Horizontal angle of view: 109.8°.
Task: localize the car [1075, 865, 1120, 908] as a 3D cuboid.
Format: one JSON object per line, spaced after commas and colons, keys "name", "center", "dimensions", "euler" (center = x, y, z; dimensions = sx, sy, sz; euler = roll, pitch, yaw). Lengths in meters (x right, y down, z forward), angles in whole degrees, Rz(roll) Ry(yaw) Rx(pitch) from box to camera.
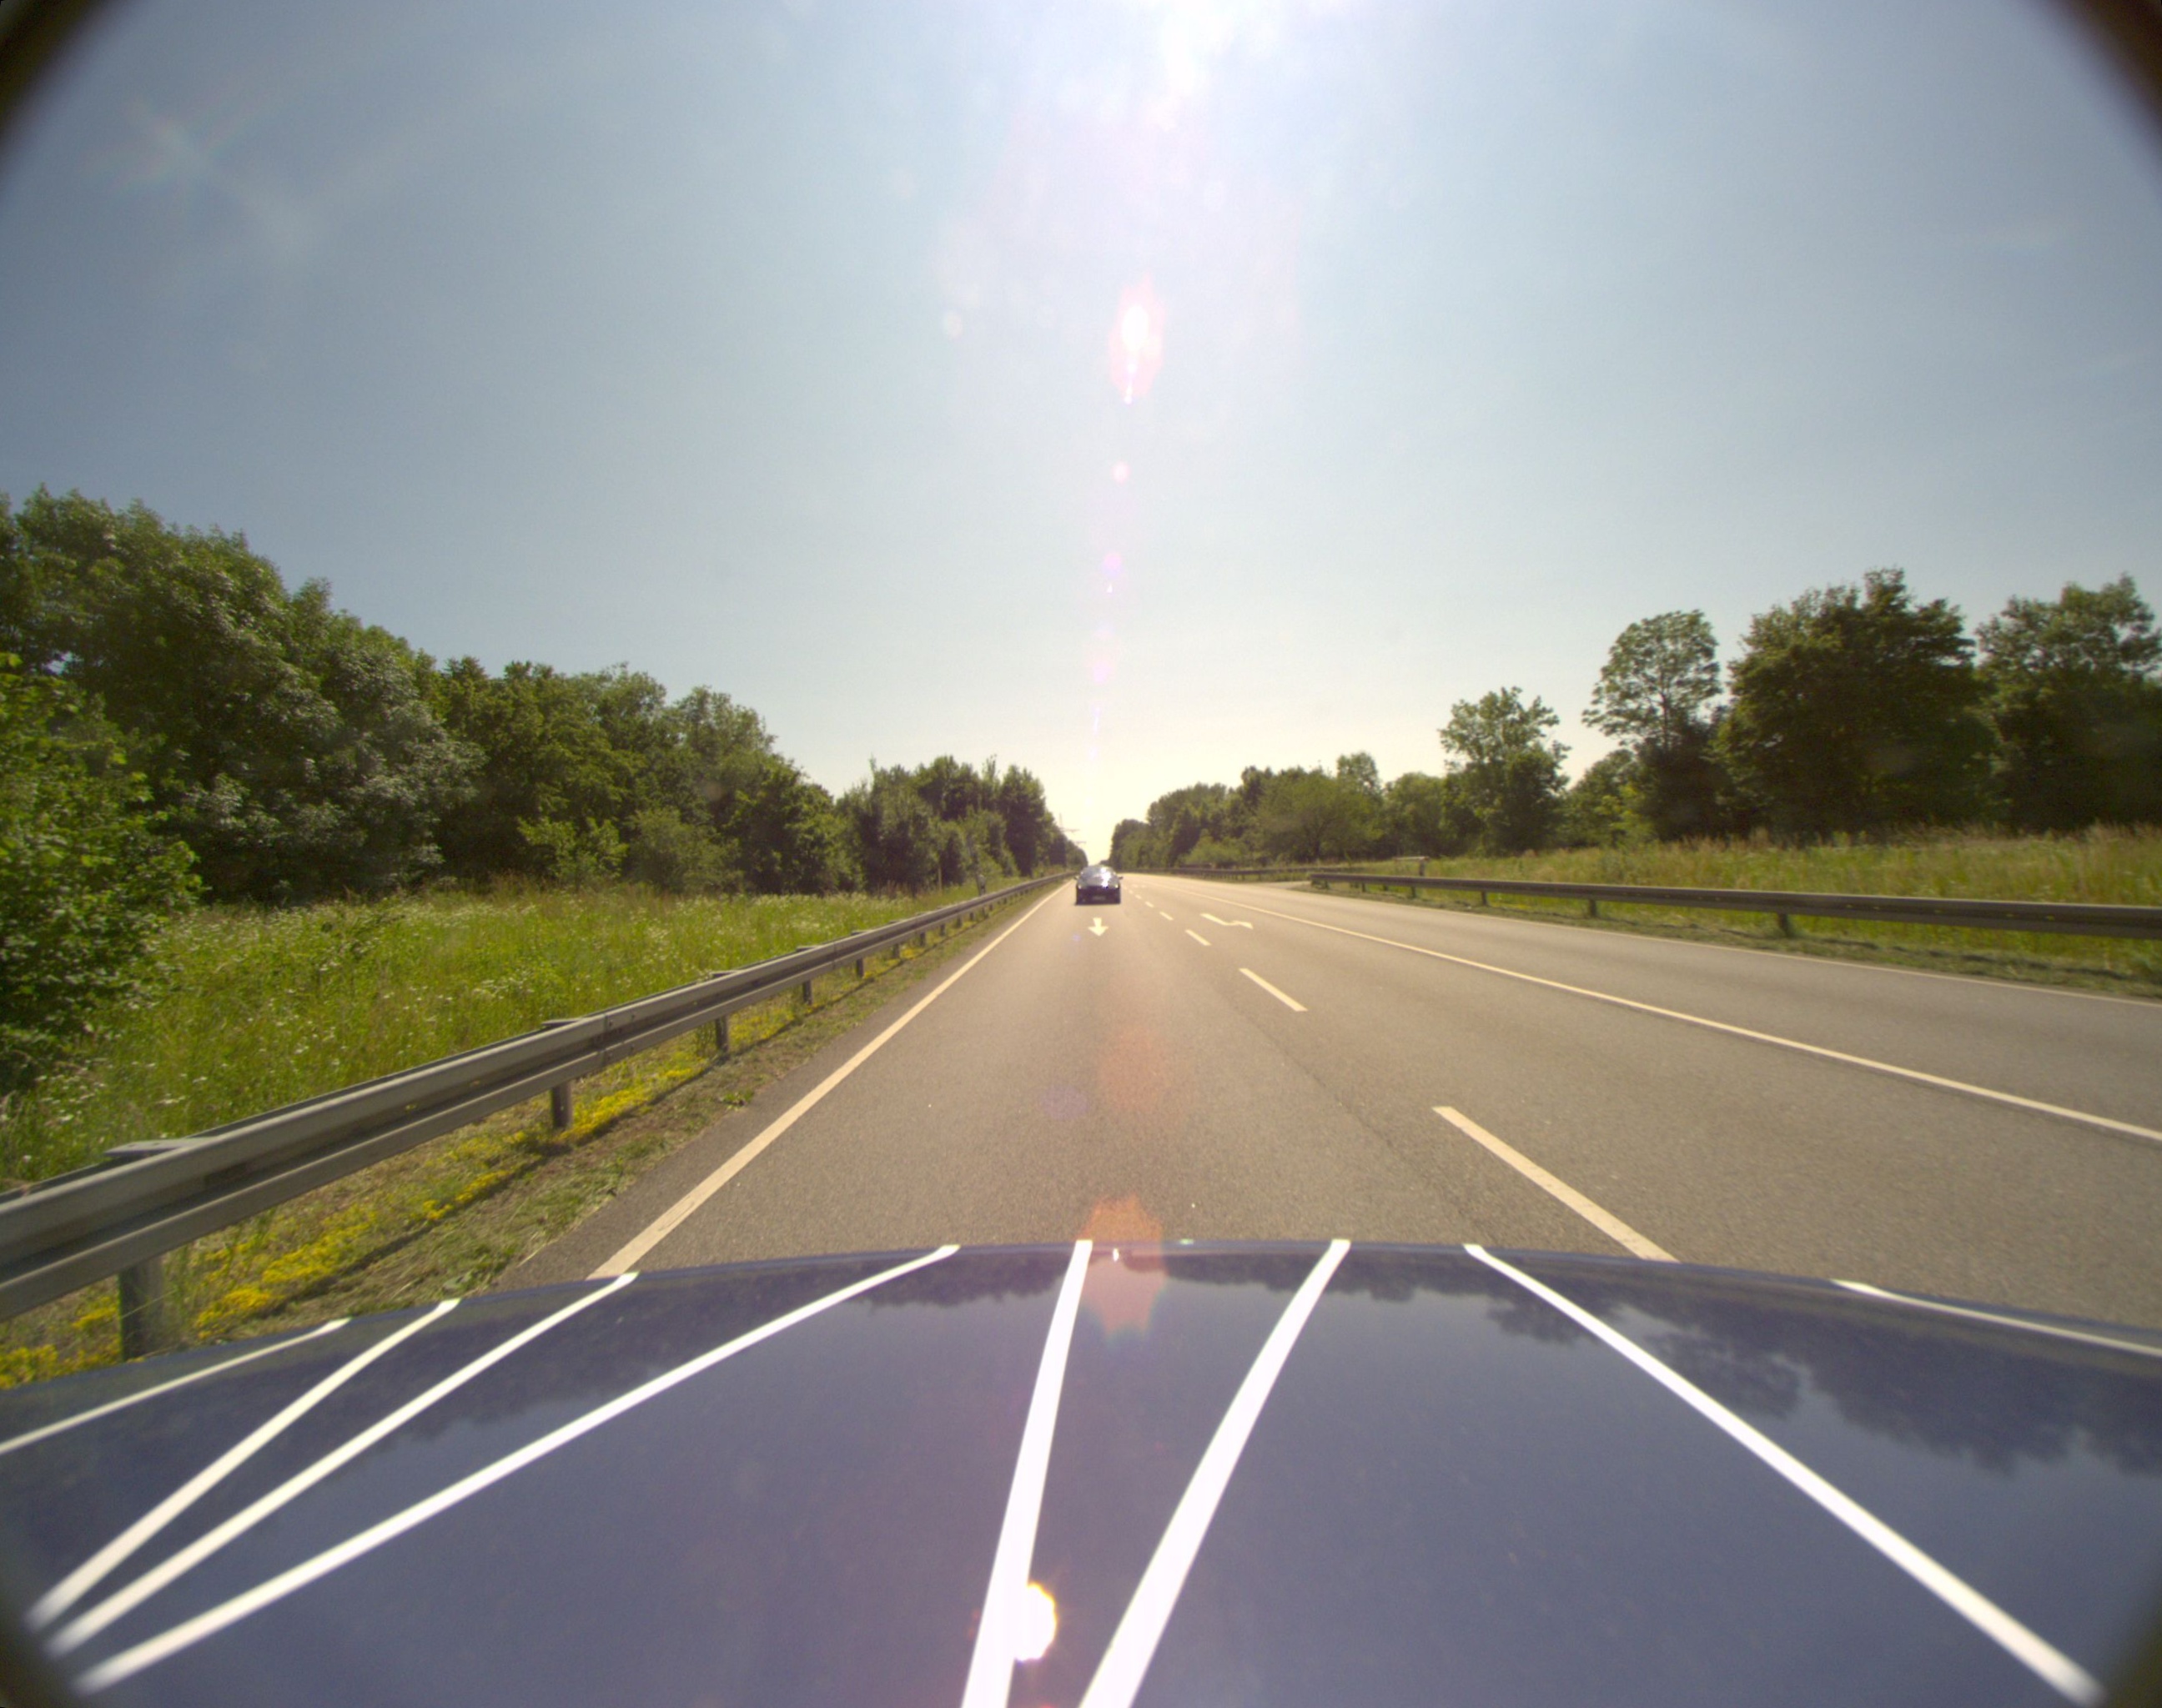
{"name": "car", "center": [0.605, 1.142, 27.884], "dimensions": [1.529, 1.387, 3.443], "euler": [-1, 0, 1]}
